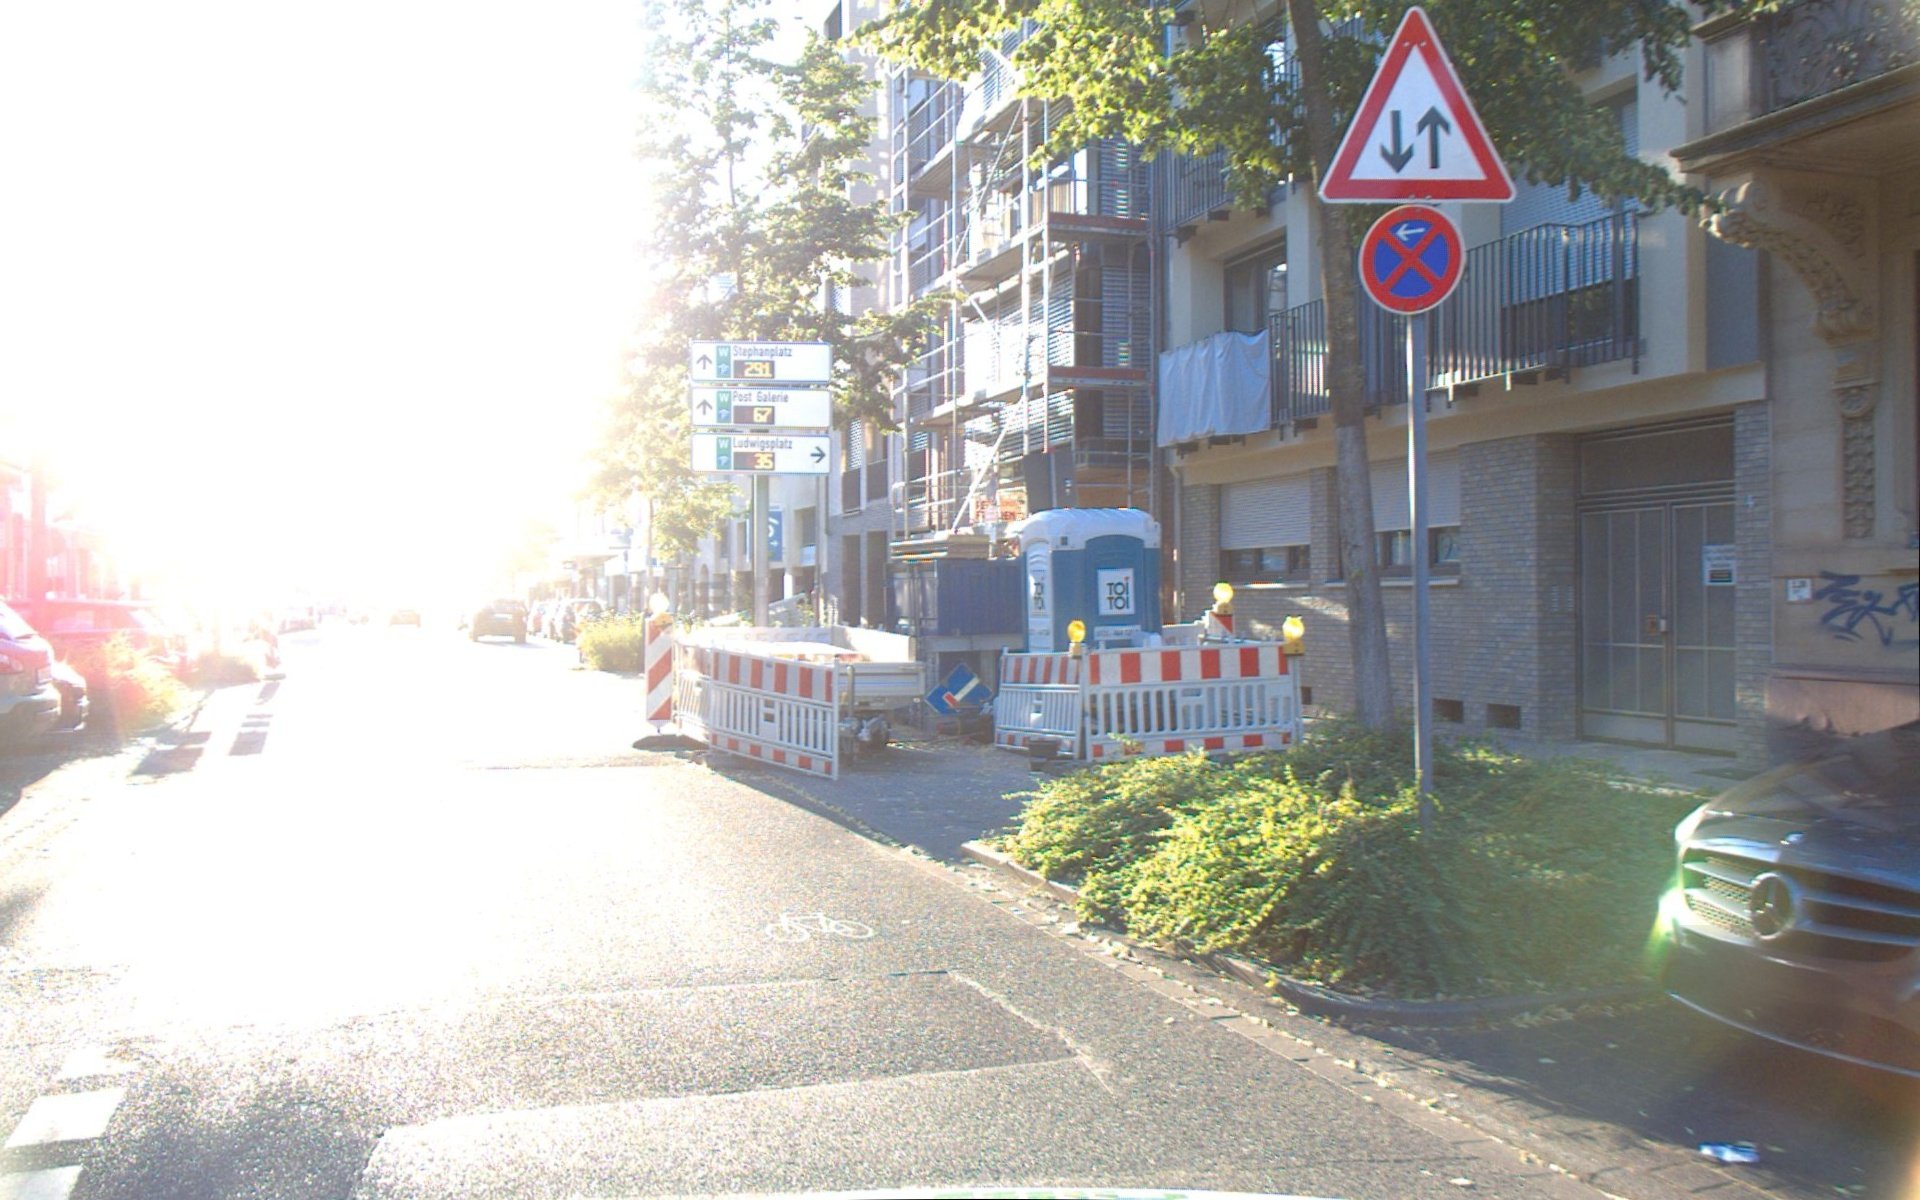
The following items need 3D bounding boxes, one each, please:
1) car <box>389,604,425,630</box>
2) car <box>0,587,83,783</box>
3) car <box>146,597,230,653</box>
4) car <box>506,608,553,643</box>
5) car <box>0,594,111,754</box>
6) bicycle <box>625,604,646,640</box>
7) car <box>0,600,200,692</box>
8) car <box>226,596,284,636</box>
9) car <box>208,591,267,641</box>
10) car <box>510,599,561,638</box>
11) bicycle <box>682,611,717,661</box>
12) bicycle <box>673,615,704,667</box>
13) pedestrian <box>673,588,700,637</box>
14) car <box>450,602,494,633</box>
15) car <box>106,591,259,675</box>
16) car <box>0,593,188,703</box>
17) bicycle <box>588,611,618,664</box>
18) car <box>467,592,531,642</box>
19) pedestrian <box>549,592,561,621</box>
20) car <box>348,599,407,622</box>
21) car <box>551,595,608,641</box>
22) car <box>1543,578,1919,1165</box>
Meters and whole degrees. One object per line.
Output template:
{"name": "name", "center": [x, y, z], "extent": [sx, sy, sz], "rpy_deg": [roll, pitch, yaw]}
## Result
{"name": "car", "center": [-31.414, 0.962, 93.987], "extent": [1.855, 1.440, 4.301], "rpy_deg": [0, -1, -19]}
{"name": "car", "center": [-9.720, 0.686, 13.971], "extent": [3.764, 1.613, 1.733], "rpy_deg": [1, -1, -17]}
{"name": "car", "center": [-22.217, 0.682, 47.723], "extent": [1.747, 1.541, 3.929], "rpy_deg": [0, 0, -18]}
{"name": "car", "center": [-18.929, 1.114, 72.639], "extent": [1.677, 1.461, 3.911], "rpy_deg": [-1, 0, -19]}
{"name": "car", "center": [-10.836, 0.738, 16.388], "extent": [4.150, 1.543, 1.750], "rpy_deg": [-1, 0, -23]}
{"name": "bicycle", "center": [-11.688, 0.779, 59.527], "extent": [0.391, 1.256, 1.814], "rpy_deg": [-1, 0, -21]}
{"name": "car", "center": [-14.160, 0.714, 26.545], "extent": [3.343, 1.416, 1.679], "rpy_deg": [0, 0, -17]}
{"name": "car", "center": [-30.505, 0.674, 71.665], "extent": [1.799, 1.583, 5.109], "rpy_deg": [-2, 1, -18]}
{"name": "car", "center": [-28.425, 0.608, 65.196], "extent": [1.801, 1.842, 5.315], "rpy_deg": [-2, 0, -21]}
{"name": "car", "center": [-16.924, 0.720, 65.849], "extent": [1.609, 1.449, 3.736], "rpy_deg": [-1, 0, -20]}
{"name": "bicycle", "center": [-5.981, 0.808, 37.890], "extent": [0.377, 1.119, 1.510], "rpy_deg": [0, 0, -26]}
{"name": "bicycle", "center": [-6.433, 0.951, 39.115], "extent": [0.376, 1.210, 1.512], "rpy_deg": [1, -1, -22]}
{"name": "pedestrian", "center": [-9.595, 0.453, 57.924], "extent": [0.798, 1.675, 0.602], "rpy_deg": [-2, -1, -19]}
{"name": "car", "center": [-24.572, 0.864, 83.175], "extent": [1.893, 1.440, 4.523], "rpy_deg": [2, -1, -19]}
{"name": "car", "center": [-15.718, 0.638, 33.562], "extent": [2.657, 1.547, 1.561], "rpy_deg": [-2, 2, -23]}
{"name": "car", "center": [-13.502, 0.669, 24.127], "extent": [3.834, 1.544, 1.847], "rpy_deg": [0, 0, -19]}
{"name": "bicycle", "center": [-7.818, 0.804, 36.181], "extent": [0.376, 1.119, 1.513], "rpy_deg": [0, 0, -22]}
{"name": "car", "center": [-16.703, 0.602, 59.837], "extent": [1.965, 1.684, 4.648], "rpy_deg": [2, -1, -19]}
{"name": "pedestrian", "center": [-25.059, 0.407, 102.231], "extent": [0.676, 1.752, 0.714], "rpy_deg": [-1, 0, -13]}
{"name": "car", "center": [-40.098, 0.724, 113.886], "extent": [1.604, 1.509, 3.603], "rpy_deg": [1, 1, 40]}
{"name": "car", "center": [-13.721, 0.643, 59.552], "extent": [1.610, 1.580, 2.677], "rpy_deg": [-1, 0, -22]}
{"name": "car", "center": [4.393, 0.650, 5.501], "extent": [4.459, 1.505, 1.857], "rpy_deg": [-2, 0, -20]}
